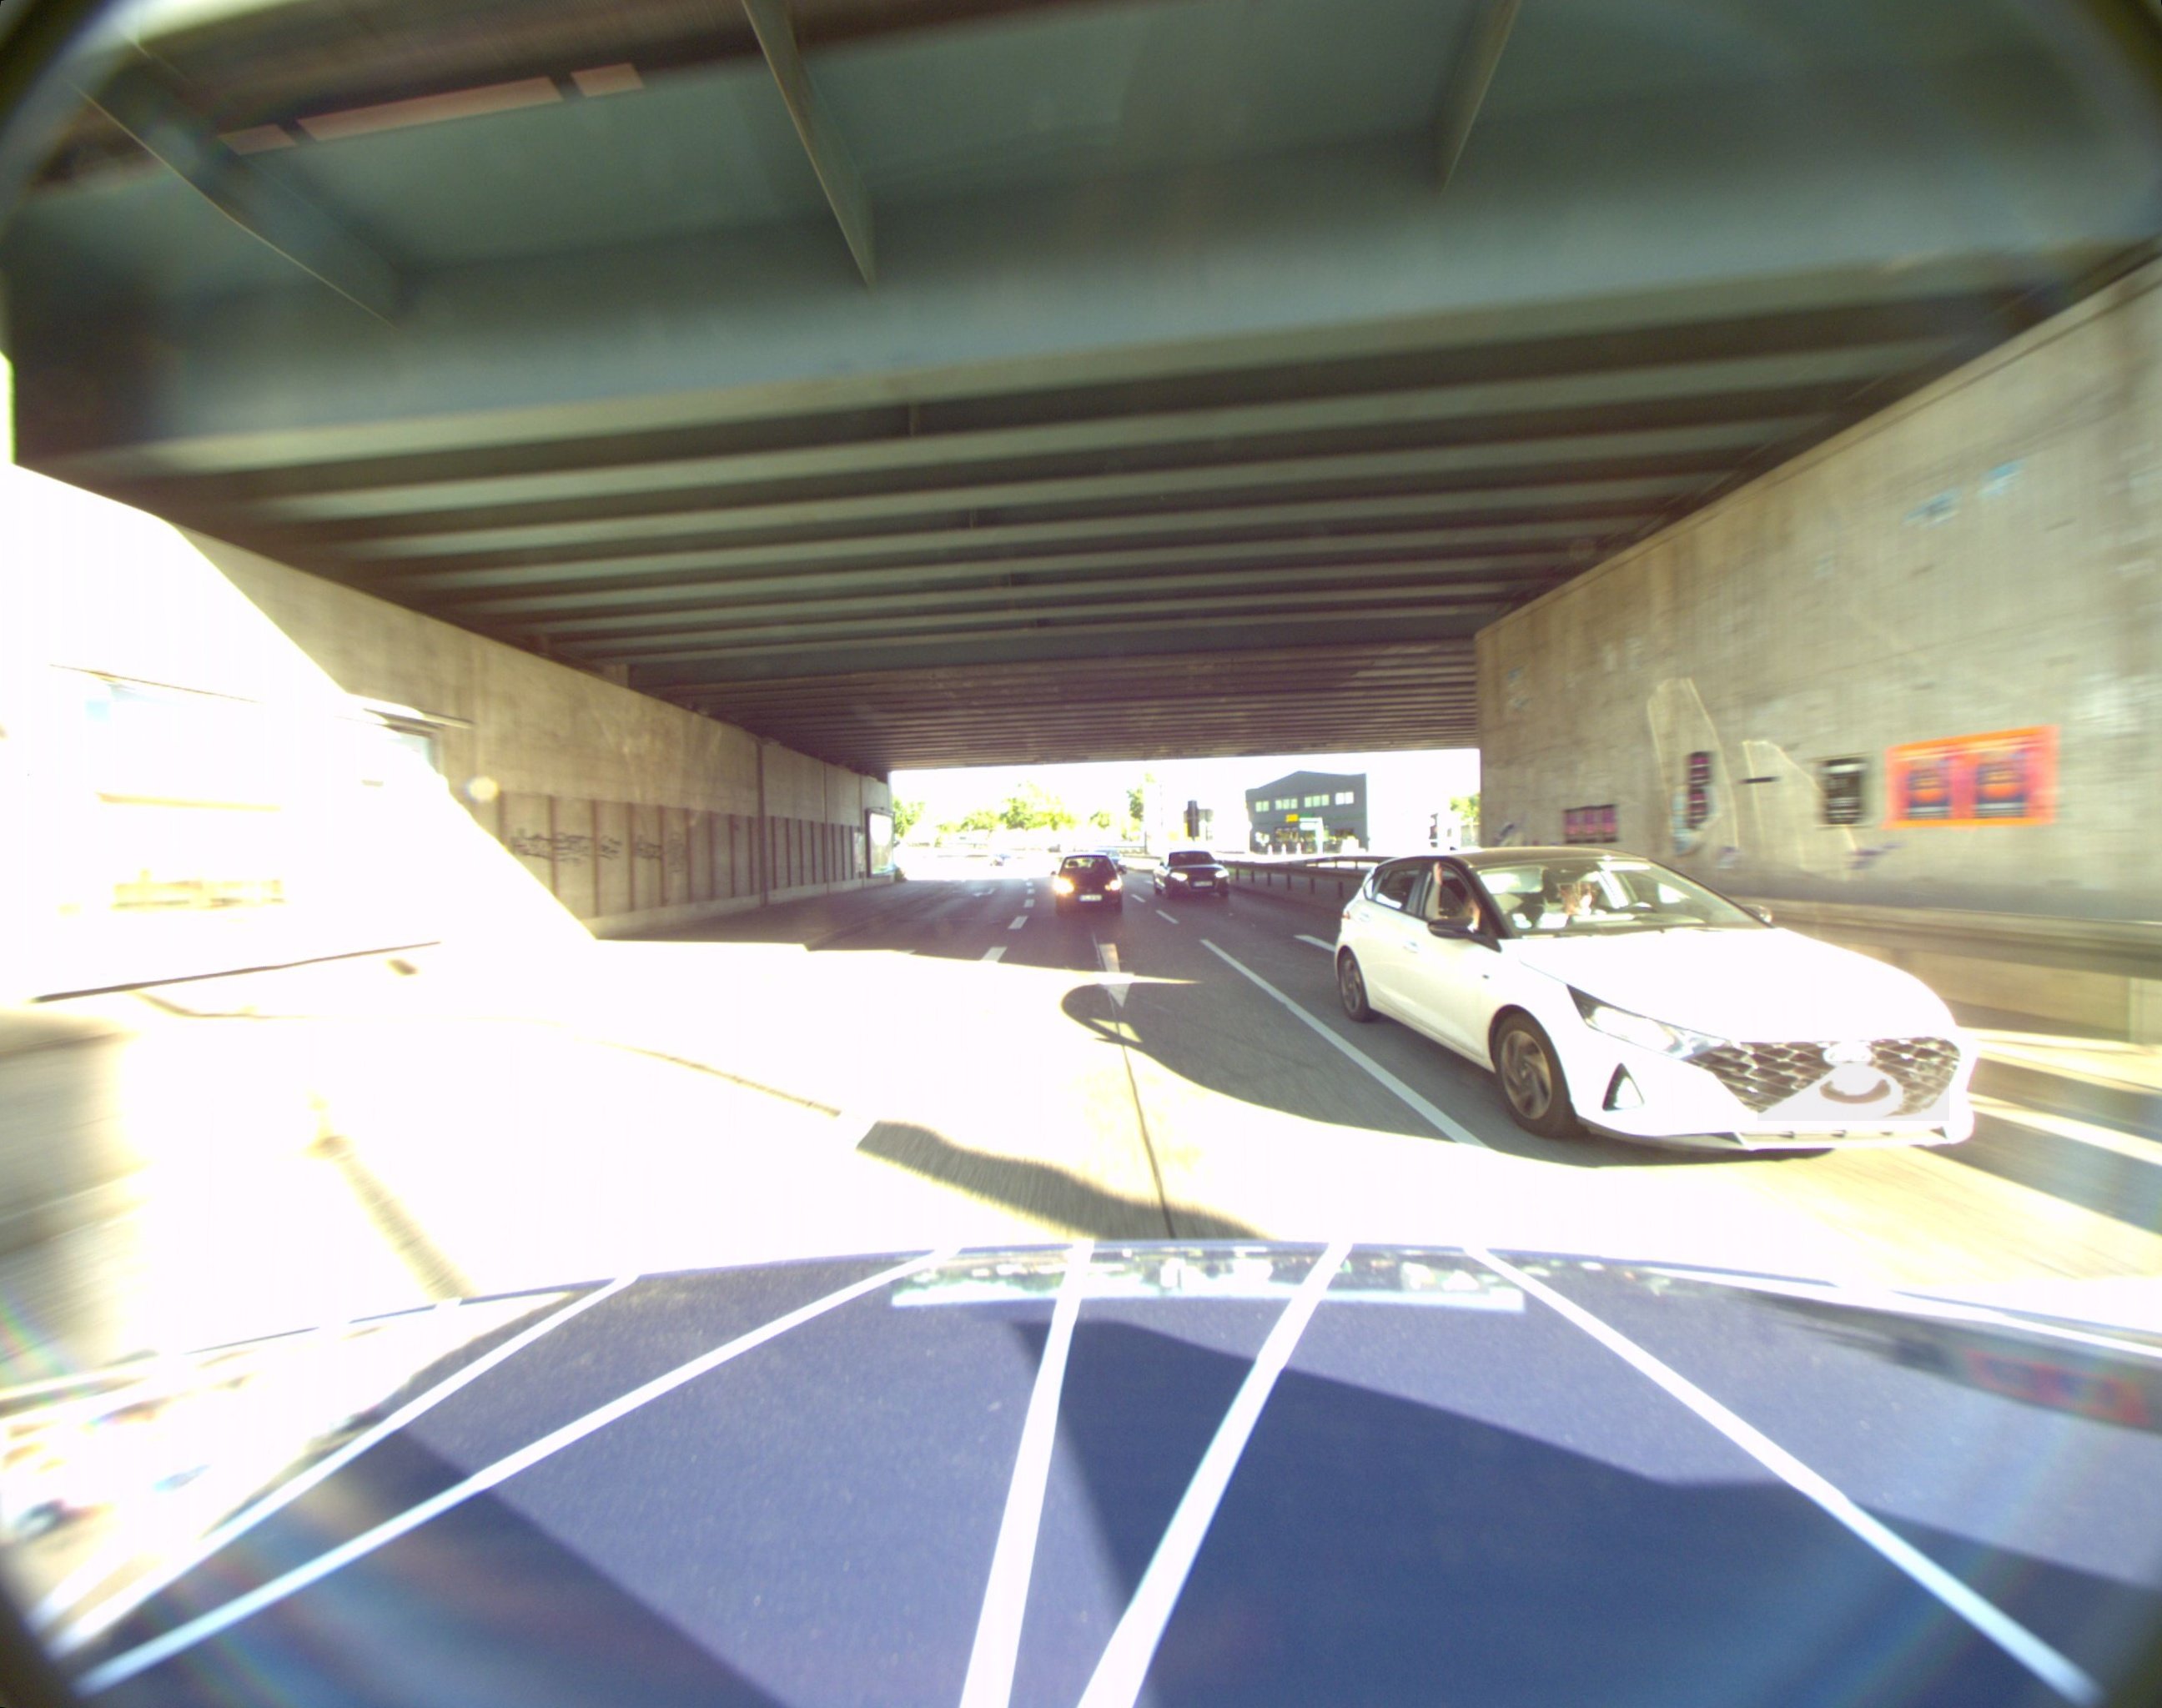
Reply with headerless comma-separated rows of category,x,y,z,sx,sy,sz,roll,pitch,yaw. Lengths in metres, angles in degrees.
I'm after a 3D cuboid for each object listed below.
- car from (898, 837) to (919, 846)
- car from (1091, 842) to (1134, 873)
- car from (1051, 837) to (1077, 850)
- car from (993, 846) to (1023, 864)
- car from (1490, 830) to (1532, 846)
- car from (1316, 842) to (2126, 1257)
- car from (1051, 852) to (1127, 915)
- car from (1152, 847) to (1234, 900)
car,-30.837,-2.197,135.754,1.834,1.578,4.170,-2,1,-43
car,1.672,0.195,41.313,1.849,1.515,3.980,-2,0,-4
car,-2.177,-1.335,96.855,1.626,1.511,3.816,-2,1,-29
car,-6.481,0.069,67.023,1.851,1.474,3.976,-2,0,-17
car,37.661,-1.396,66.564,4.191,1.274,1.825,0,1,-40
car,3.029,0.748,4.851,1.737,1.471,3.991,-3,0,0
car,0.193,0.699,19.958,1.737,1.412,4.319,-2,0,0
car,3.270,0.537,22.998,1.848,1.412,3.981,-2,0,0
